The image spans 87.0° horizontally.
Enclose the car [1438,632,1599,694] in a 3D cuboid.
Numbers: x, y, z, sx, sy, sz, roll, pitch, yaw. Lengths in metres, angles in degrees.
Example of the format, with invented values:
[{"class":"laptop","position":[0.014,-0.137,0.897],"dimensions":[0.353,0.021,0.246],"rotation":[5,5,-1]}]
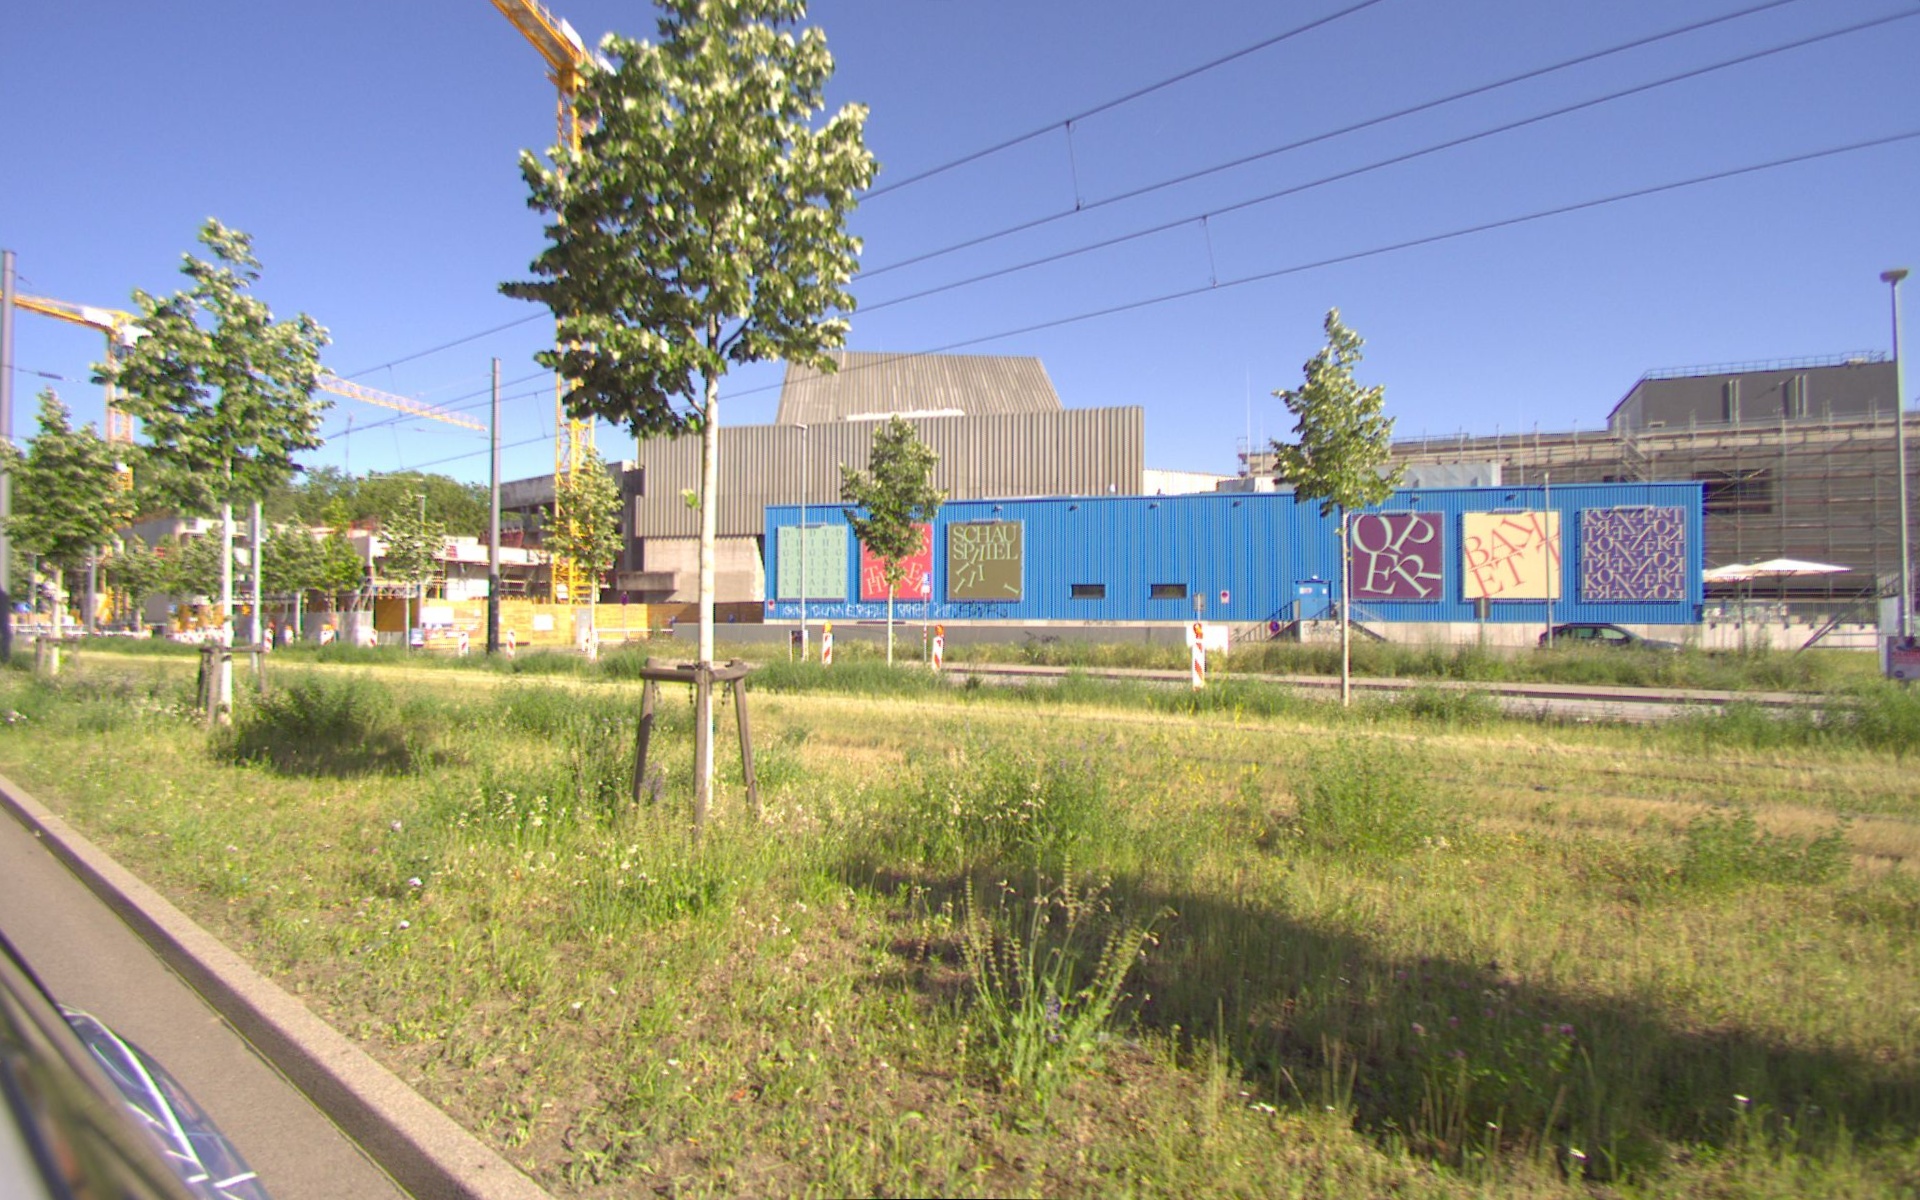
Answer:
[{"class":"car","position":[16.099,1.760,29.256],"dimensions":[3.855,1.547,1.542],"rotation":[-1,1,40]}]
